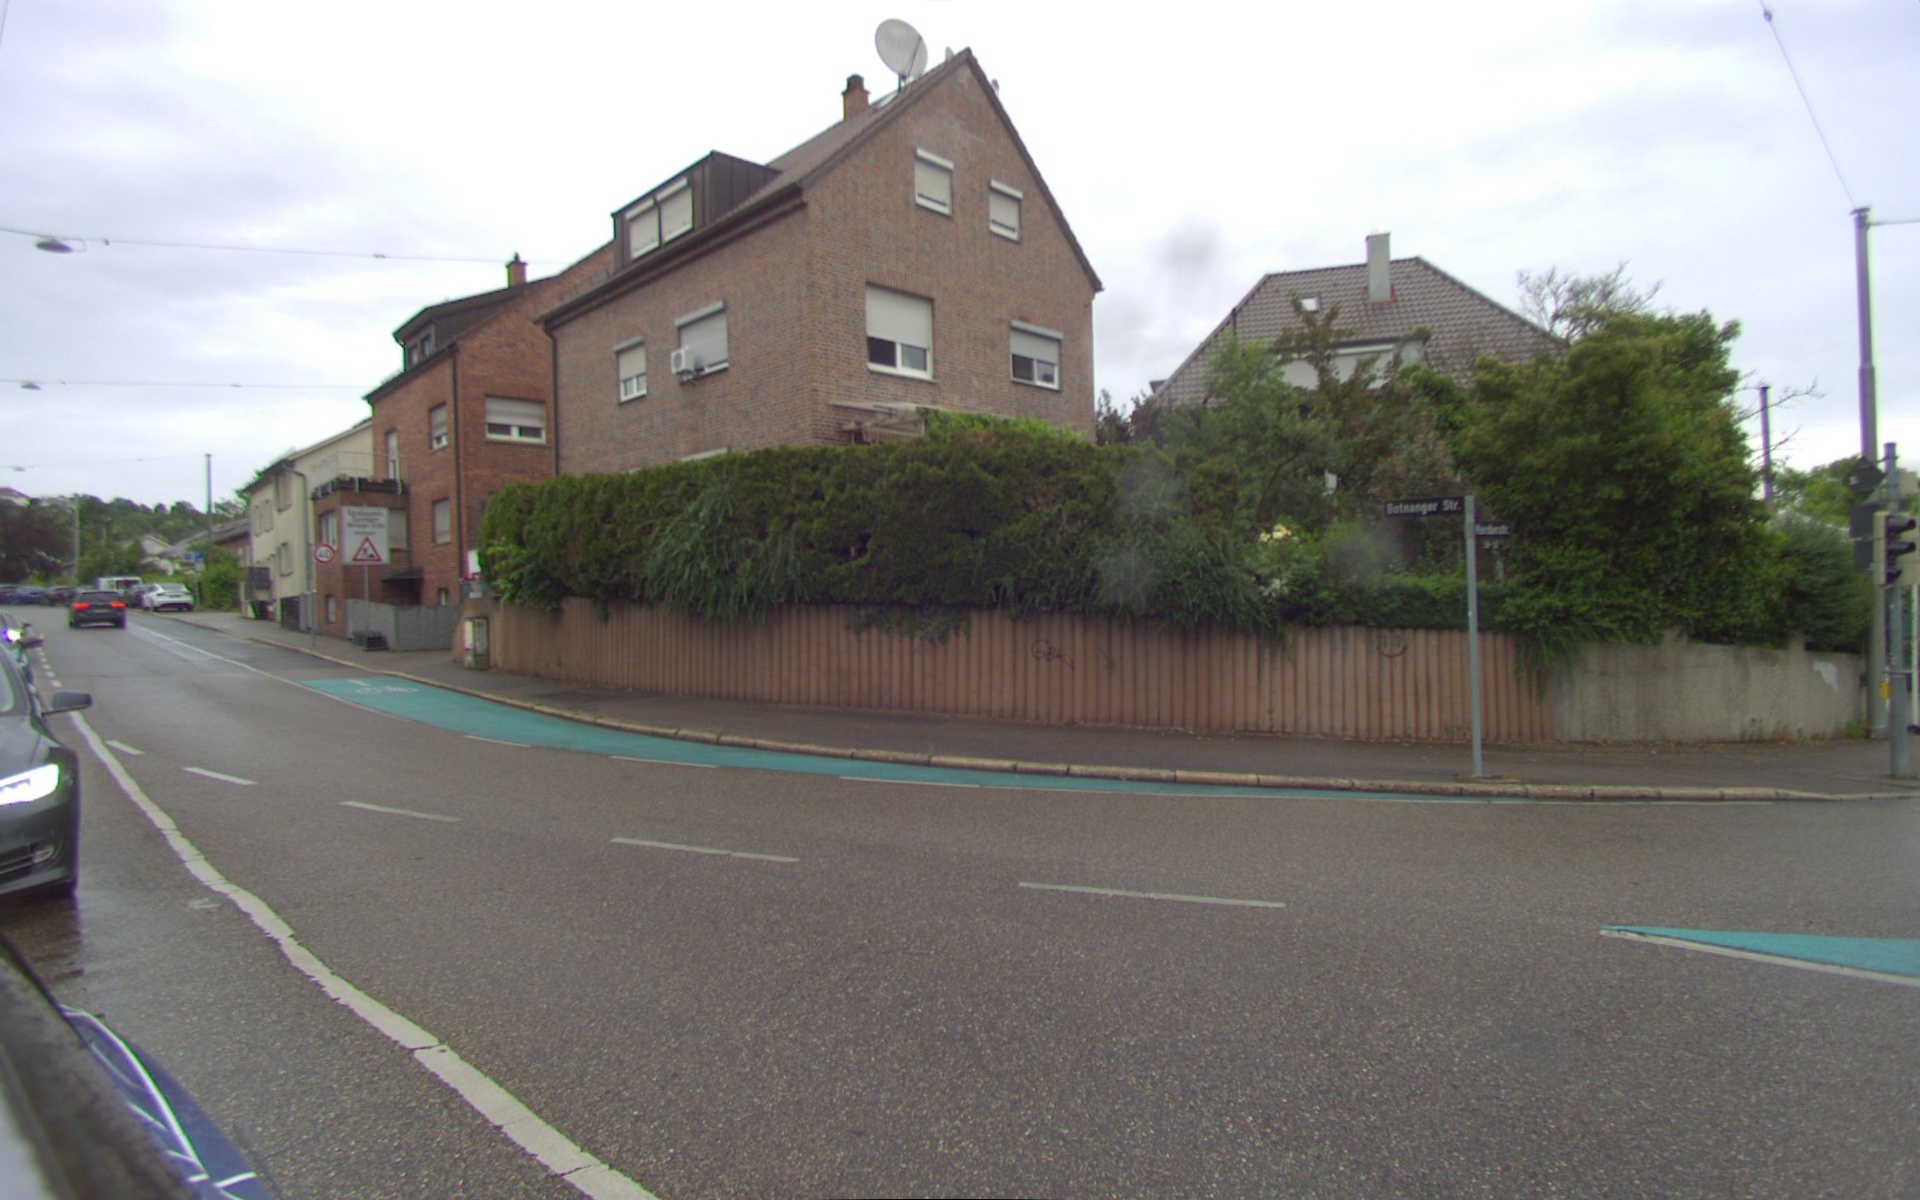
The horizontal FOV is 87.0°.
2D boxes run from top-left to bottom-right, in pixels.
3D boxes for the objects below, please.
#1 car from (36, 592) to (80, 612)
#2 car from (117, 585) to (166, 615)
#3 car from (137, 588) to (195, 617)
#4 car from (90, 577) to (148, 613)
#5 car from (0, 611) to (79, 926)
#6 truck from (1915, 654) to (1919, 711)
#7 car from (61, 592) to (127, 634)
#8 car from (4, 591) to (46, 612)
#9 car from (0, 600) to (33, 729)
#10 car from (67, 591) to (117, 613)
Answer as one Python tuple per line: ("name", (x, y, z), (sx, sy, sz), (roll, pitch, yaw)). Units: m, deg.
("car", (-66.628, 0.135, 74.781), (3.854, 1.407, 1.634), (-1, 2, 36))
("car", (-52.384, -0.013, 64.737), (4.262, 1.817, 1.791), (0, 2, 42))
("car", (-46.436, 0.159, 59.144), (4.262, 1.577, 1.921), (0, 2, 42))
("car", (-57.030, -0.323, 68.595), (4.544, 2.303, 2.229), (0, 2, 41))
("car", (-6.306, 0.796, 5.625), (4.002, 1.426, 1.845), (0, 0, 45))
("truck", (27.498, 2.180, 25.769), (1.885, 1.800, 4.978), (-1, -5, 6))
("car", (-37.834, 0.548, 44.173), (4.175, 1.693, 1.827), (1, -1, 45))
("car", (-71.326, 0.125, 77.157), (3.895, 1.501, 1.605), (-1, 2, 36))
("car", (-13.635, 0.805, 13.457), (3.785, 1.601, 1.765), (0, 0, 45))
("car", (-61.427, 0.141, 71.598), (4.002, 1.501, 1.636), (-1, 2, 34))
